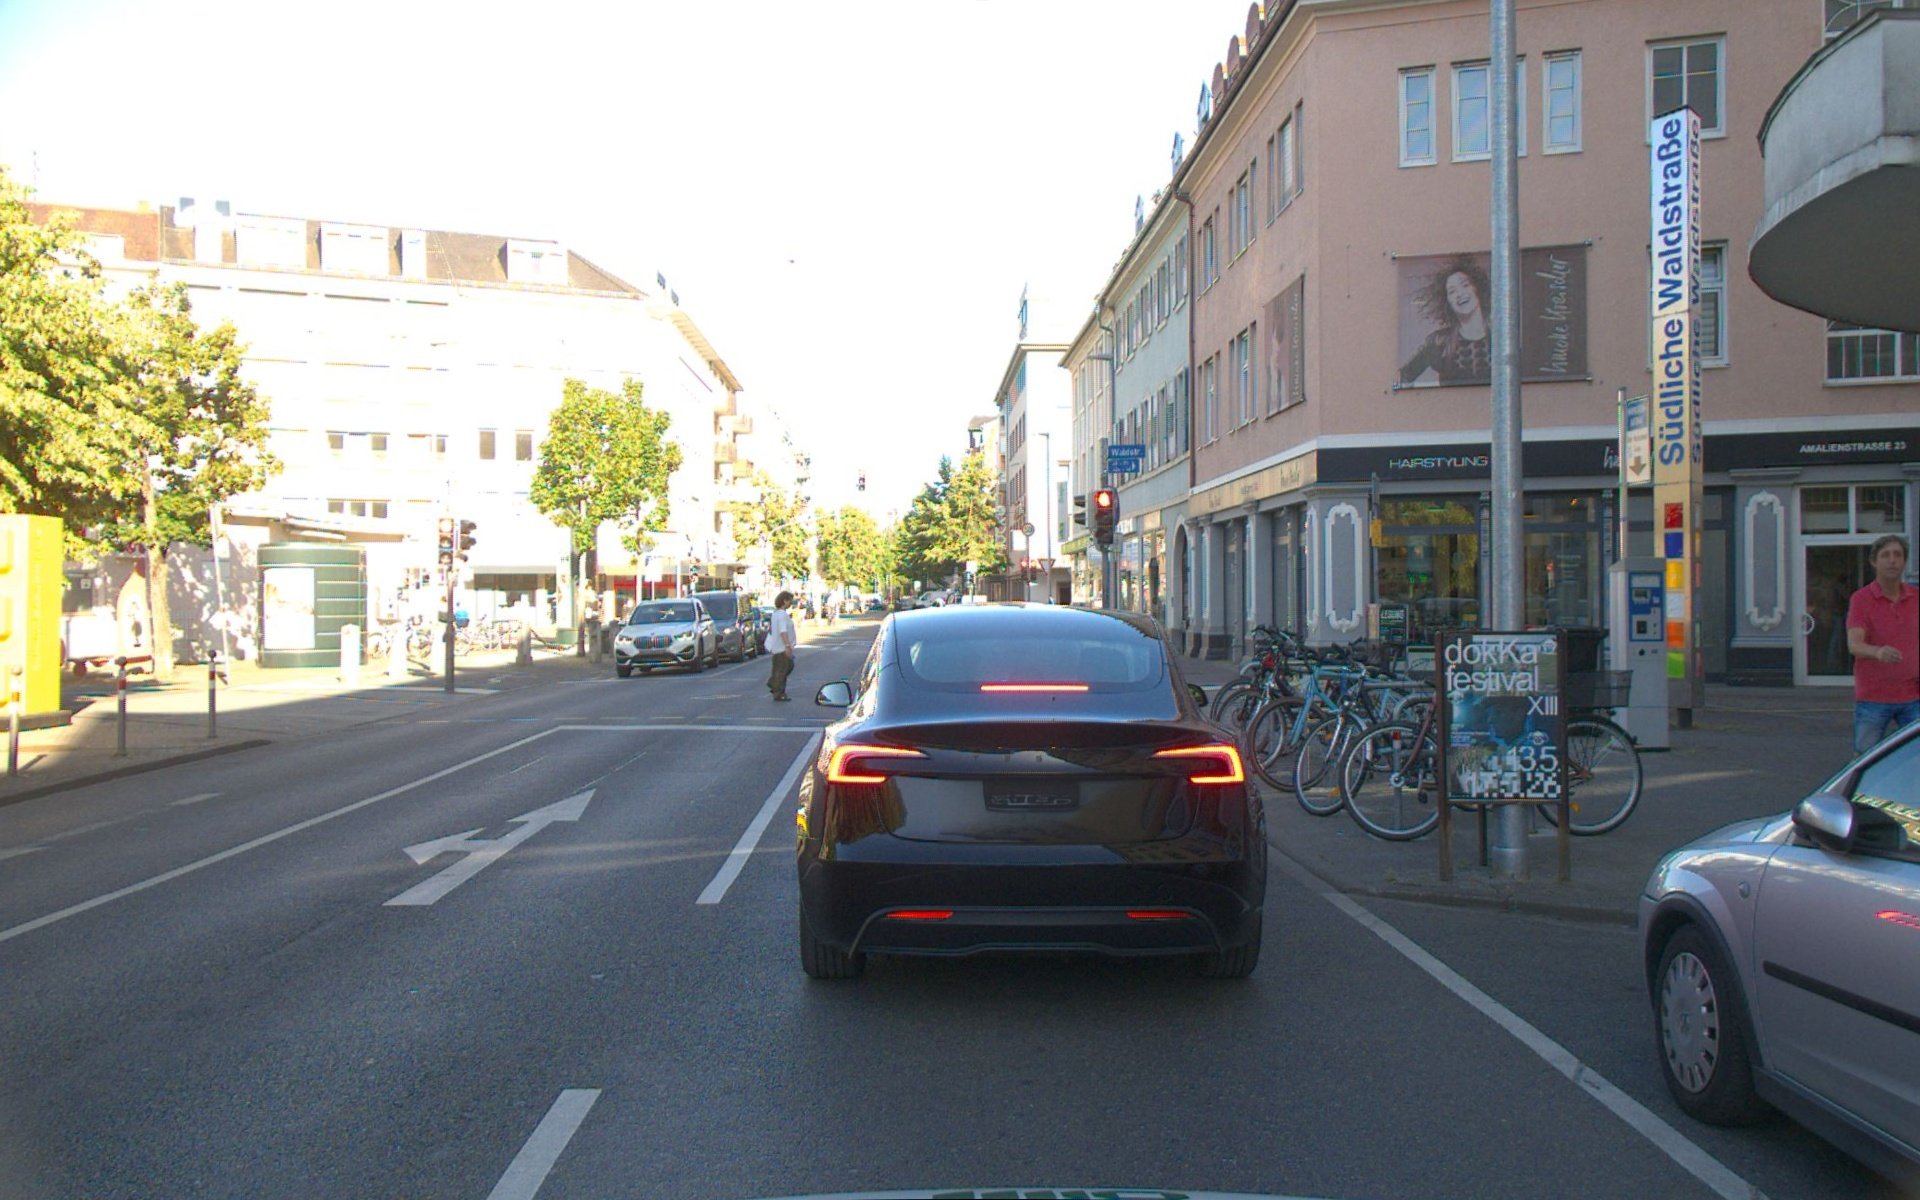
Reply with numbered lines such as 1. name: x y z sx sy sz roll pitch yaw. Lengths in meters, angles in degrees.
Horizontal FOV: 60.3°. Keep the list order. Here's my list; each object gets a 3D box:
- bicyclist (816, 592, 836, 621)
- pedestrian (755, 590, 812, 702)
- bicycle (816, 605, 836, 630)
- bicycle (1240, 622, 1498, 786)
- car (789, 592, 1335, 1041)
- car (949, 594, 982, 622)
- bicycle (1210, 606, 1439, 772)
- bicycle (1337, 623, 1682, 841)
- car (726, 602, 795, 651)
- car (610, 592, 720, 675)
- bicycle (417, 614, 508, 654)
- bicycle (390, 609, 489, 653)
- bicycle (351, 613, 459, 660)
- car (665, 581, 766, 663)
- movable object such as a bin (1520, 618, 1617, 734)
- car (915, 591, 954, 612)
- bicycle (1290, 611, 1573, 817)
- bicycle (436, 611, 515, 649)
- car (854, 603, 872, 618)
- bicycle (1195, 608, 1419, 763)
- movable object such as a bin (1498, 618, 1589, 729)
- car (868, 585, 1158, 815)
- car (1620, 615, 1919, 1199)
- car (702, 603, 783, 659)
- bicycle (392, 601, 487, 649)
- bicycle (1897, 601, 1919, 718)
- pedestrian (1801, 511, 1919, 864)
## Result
1. bicyclist: -7.717 0.373 95.484 1.104 1.657 0.964 0 0 -4
2. pedestrian: -2.538 0.646 23.764 0.734 1.579 0.697 0 0 -13
3. bicycle: -7.701 1.000 95.390 1.089 1.368 3.997 0 0 -4
4. bicycle: 3.055 0.768 12.497 1.760 1.144 0.782 -2 0 5
5. car: 0.313 0.721 7.486 1.810 1.480 3.999 0 0 -1
6. car: 0.324 0.503 100.681 1.953 1.657 3.999 0 0 -1
7. bicycle: 2.986 0.718 13.675 1.709 1.289 0.781 -2 0 2
8. bicycle: 3.284 0.781 10.017 1.846 1.214 0.692 -2 1 5
9. car: -6.807 0.871 56.899 1.954 1.461 4.671 -4 0 -3
10. car: -6.383 0.686 36.240 1.771 1.582 4.307 -4 0 -3
11. bicycle: -14.892 1.014 49.554 2.485 1.176 0.841 0 0 -6
12. bicycle: -14.106 0.841 44.877 2.412 1.176 0.842 0 0 -2
13. bicycle: -14.192 0.922 42.343 2.455 1.176 0.842 0 0 -2
14. car: -6.221 0.526 42.493 1.797 1.877 4.674 -4 0 0
15. movable object such as a bin: 6.042 0.746 16.454 0.737 1.111 0.627 1 0 1
16. car: -2.574 0.164 167.505 3.907 2.049 1.999 0 0 -2
17. bicycle: 3.138 0.746 11.147 1.686 1.290 0.791 -2 0 5
18. bicycle: -15.216 0.940 51.977 2.279 1.176 0.841 0 0 -6
19. car: -10.988 1.218 186.881 1.954 1.666 3.997 0 0 -4
20. bicycle: 3.051 0.745 14.706 1.822 1.280 0.833 -2 0 5
21. movable object such as a bin: 6.022 0.748 17.091 0.718 1.111 0.627 1 0 1
22. car: 0.286 0.665 13.195 1.953 1.538 4.173 0 0 -2
23. car: 2.930 0.775 3.506 1.580 1.406 3.642 1 0 0
24. car: -6.424 0.883 49.313 1.954 1.434 4.671 -4 0 -3
25. bicycle: -14.714 0.696 46.800 2.429 1.347 0.921 0 0 -6
26. bicycle: 10.260 0.619 17.005 0.645 1.220 2.212 0 0 18
27. pedestrian: 5.239 0.440 8.996 0.845 1.815 1.009 -2 0 7
